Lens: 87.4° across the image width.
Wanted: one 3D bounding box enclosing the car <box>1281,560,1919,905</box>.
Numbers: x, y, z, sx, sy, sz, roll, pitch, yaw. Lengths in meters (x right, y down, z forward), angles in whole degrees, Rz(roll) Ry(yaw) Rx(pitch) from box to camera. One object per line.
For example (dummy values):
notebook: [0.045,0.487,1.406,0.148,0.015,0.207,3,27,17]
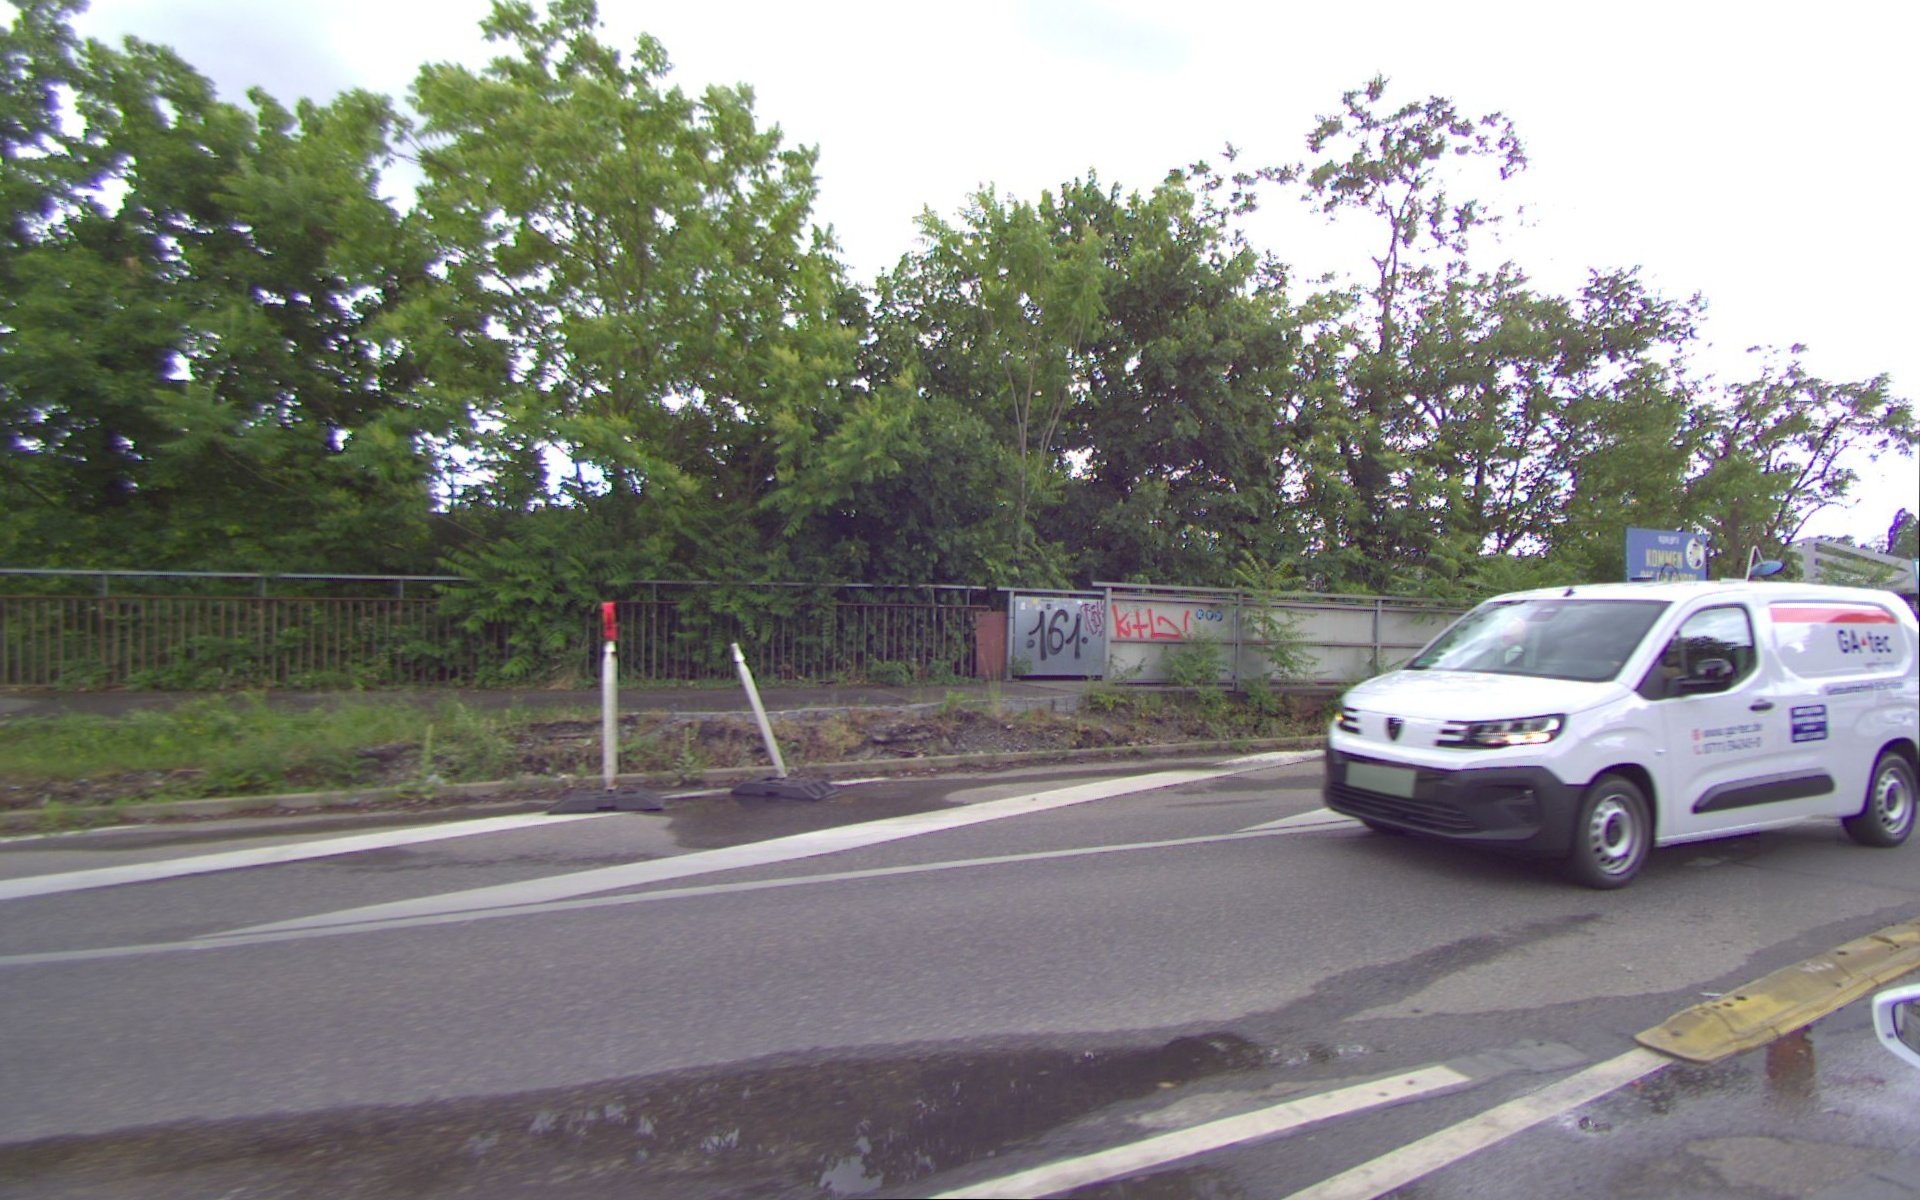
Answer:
car: [4.734,0.710,7.081,4.682,1.806,1.859,0,-1,-24]
